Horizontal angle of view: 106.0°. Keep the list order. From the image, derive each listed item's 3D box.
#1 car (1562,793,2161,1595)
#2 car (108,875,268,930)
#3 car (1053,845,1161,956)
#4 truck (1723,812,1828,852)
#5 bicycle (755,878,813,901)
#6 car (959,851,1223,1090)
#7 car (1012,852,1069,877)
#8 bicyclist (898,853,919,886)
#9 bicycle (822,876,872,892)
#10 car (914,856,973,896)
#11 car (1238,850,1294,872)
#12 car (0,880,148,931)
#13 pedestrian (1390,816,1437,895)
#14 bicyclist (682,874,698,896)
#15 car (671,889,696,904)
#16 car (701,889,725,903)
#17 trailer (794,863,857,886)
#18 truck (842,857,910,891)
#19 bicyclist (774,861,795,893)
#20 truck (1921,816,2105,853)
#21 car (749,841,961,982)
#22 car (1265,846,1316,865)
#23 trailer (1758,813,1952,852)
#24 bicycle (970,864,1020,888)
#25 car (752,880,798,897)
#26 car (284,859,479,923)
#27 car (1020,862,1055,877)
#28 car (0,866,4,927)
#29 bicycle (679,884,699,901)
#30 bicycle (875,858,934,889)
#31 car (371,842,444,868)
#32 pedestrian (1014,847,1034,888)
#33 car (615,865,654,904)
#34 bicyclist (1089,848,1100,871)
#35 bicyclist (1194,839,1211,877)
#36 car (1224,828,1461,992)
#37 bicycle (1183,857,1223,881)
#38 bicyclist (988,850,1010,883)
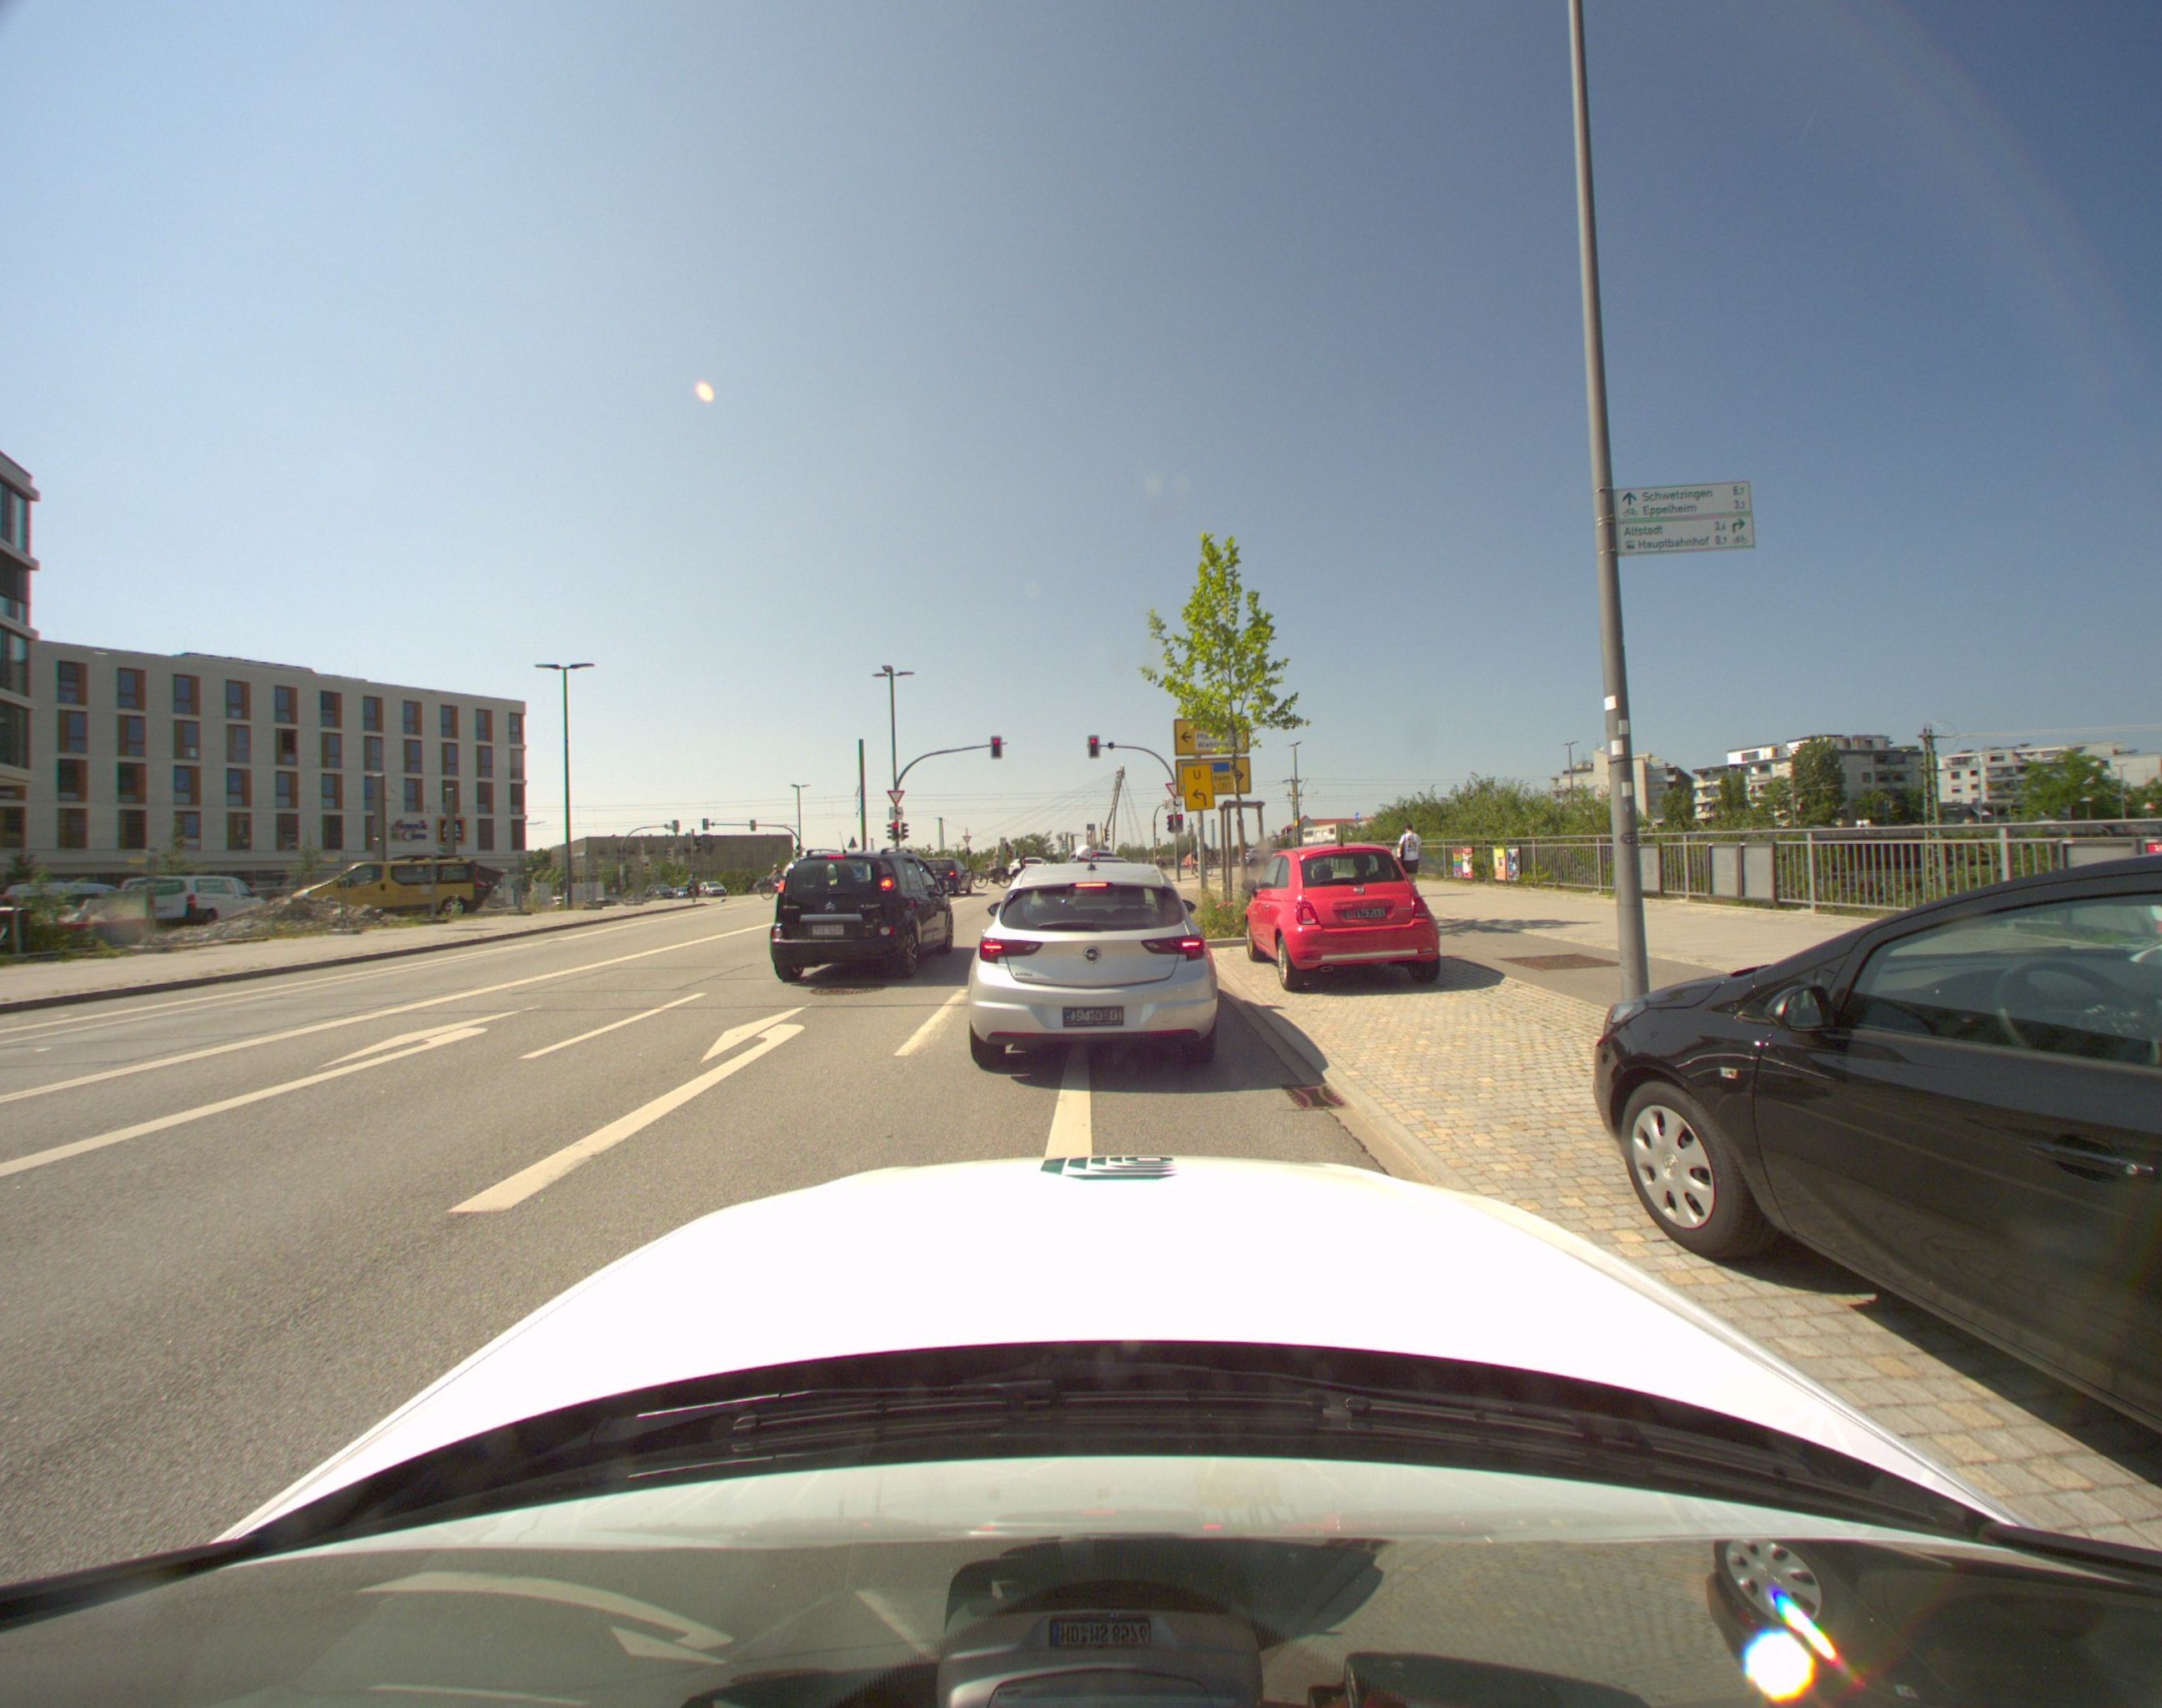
[{"bbox_3d":[2.872,0.632,1.724,1.576,1.555,3.548,-4,0,1],"label":"car"},{"bbox_3d":[-31.071,1.604,28.564,2.003,1.707,4.526,0,-1,-23],"label":"car"},{"bbox_3d":[0.434,0.731,14.215,1.629,1.674,3.745,0,-1,1],"label":"car"},{"bbox_3d":[58.976,-1.789,69.229,6.478,3.204,3.721,0,-1,-14],"label":"truck"},{"bbox_3d":[-14.015,1.656,38.459,2.494,1.007,0.605,-1,-1,2],"label":"bicycle"},{"bbox_3d":[0.113,0.767,7.408,1.685,1.520,4.271,-1,0,1],"label":"car"},{"bbox_3d":[-3.100,0.807,63.086,4.006,1.815,1.938,-1,-1,12],"label":"car"},{"bbox_3d":[-8.193,0.725,38.703,0.820,1.560,0.862,0,-1,-3],"label":"bicyclist"},{"bbox_3d":[-11.198,1.418,38.960,2.237,0.692,0.516,-1,-1,2],"label":"bicycle"},{"bbox_3d":[-5.216,0.832,31.159,1.581,1.395,3.340,-1,-1,1],"label":"car"},{"bbox_3d":[14.585,0.585,64.228,3.977,1.551,1.669,-2,-1,-12],"label":"car"},{"bbox_3d":[-33.715,1.663,27.312,1.809,1.508,3.965,0,-1,-27],"label":"car"},{"bbox_3d":[7.905,0.046,19.403,0.755,1.830,0.885,0,-1,1],"label":"pedestrian"},{"bbox_3d":[-27.328,2.159,56.853,0.829,1.504,0.712,0,-2,-44],"label":"bicyclist"},{"bbox_3d":[-42.040,4.456,86.107,1.594,1.439,3.116,1,-1,-42],"label":"car"},{"bbox_3d":[-34.845,4.000,77.096,1.287,1.240,2.453,0,-1,-45],"label":"car"},{"bbox_3d":[-19.990,1.597,63.751,4.238,1.776,2.009,0,-1,17],"label":"trailer"},{"bbox_3d":[-15.700,1.549,62.446,4.656,2.540,2.009,-1,-1,17],"label":"truck"},{"bbox_3d":[-14.006,1.095,38.460,0.654,1.502,0.844,0,-1,3],"label":"bicyclist"},{"bbox_3d":[87.903,-1.753,76.802,17.857,3.204,3.723,0,-1,-14],"label":"truck"},{"bbox_3d":[-2.942,0.703,11.506,1.797,1.622,3.917,-1,-1,1],"label":"car"},{"bbox_3d":[19.998,0.151,77.802,4.254,1.673,1.989,-1,-1,-16],"label":"car"},{"bbox_3d":[67.999,-1.783,71.512,17.225,3.204,3.723,0,-1,-14],"label":"trailer"},{"bbox_3d":[-4.120,1.053,39.293,2.351,1.127,0.677,0,-1,-2],"label":"bicycle"},{"bbox_3d":[-25.597,2.856,68.079,3.738,1.390,1.676,-1,-1,32],"label":"car"},{"bbox_3d":[-22.612,1.130,26.481,1.974,1.890,4.514,-1,-1,40],"label":"car"},{"bbox_3d":[-4.097,1.415,76.229,3.203,1.304,1.523,-1,-1,-2],"label":"car"},{"bbox_3d":[-36.267,1.379,25.037,2.220,2.056,4.133,0,-1,-28],"label":"car"},{"bbox_3d":[-27.368,2.663,56.839,0.640,1.133,2.298,0,-1,-42],"label":"bicycle"},{"bbox_3d":[-8.376,0.920,38.678,2.519,1.134,0.727,-6,2,-4],"label":"bicycle"},{"bbox_3d":[-54.313,0.102,65.771,3.990,2.014,1.991,0,-1,-12],"label":"car"},{"bbox_3d":[-2.691,0.626,38.195,0.743,1.863,0.748,0,-1,-24],"label":"pedestrian"},{"bbox_3d":[-24.127,1.625,44.115,1.679,2.014,3.964,0,-1,-27],"label":"car"},{"bbox_3d":[0.971,0.386,57.192,0.768,1.610,0.949,0,-1,2],"label":"bicyclist"},{"bbox_3d":[6.215,0.200,41.513,0.597,1.887,0.631,0,-1,-26],"label":"bicyclist"},{"bbox_3d":[2.949,0.559,10.074,1.663,1.540,3.917,-3,0,1],"label":"car"},{"bbox_3d":[6.236,0.735,41.508,2.092,1.178,0.550,-1,-1,-27],"label":"bicycle"},{"bbox_3d":[-3.949,0.623,39.338,0.942,1.569,0.822,0,-1,0],"label":"bicyclist"}]
